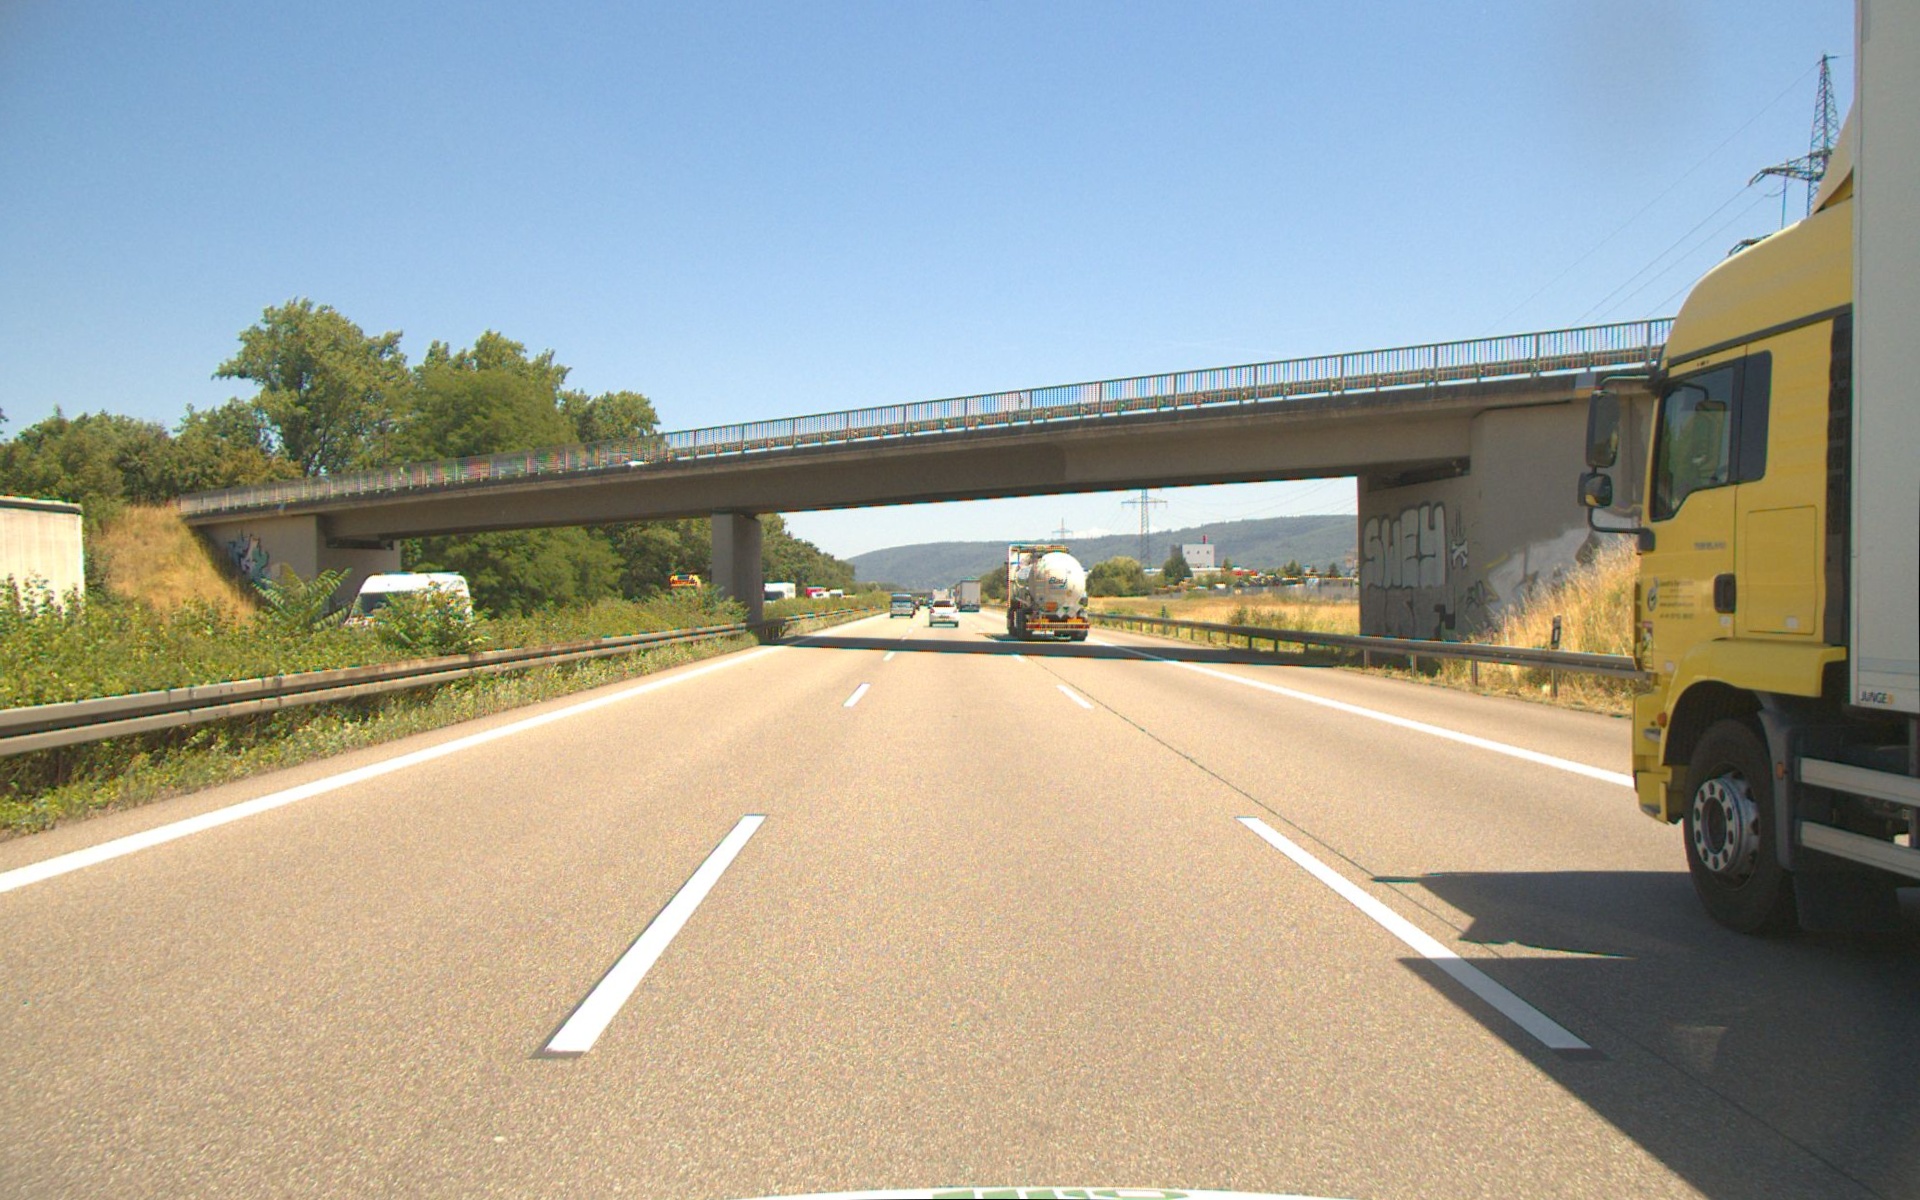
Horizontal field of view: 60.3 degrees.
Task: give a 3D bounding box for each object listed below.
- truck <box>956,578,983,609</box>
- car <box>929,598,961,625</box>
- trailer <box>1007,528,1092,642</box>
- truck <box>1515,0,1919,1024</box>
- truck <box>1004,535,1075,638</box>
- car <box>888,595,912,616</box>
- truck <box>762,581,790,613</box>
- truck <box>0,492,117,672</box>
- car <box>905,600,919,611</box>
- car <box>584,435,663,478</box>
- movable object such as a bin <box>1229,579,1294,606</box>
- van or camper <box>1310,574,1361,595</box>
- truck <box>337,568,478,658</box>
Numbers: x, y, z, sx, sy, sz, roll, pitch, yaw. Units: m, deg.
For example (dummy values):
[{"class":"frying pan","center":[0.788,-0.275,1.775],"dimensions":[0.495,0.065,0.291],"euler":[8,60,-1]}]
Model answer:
[{"class":"truck","center":[1.148,-0.807,216.682],"dimensions":[3.199,3.925,11.628],"euler":[1,0,-1]},{"class":"car","center":[-0.851,0.634,93.618],"dimensions":[1.770,1.494,3.999],"euler":[1,0,-1]},{"class":"trailer","center":[3.432,-0.556,66.144],"dimensions":[2.528,4.145,11.100],"euler":[1,0,-1]},{"class":"truck","center":[4.810,-0.641,4.382],"dimensions":[2.874,4.273,10.679],"euler":[1,0,-1]},{"class":"truck","center":[3.337,-0.554,70.856],"dimensions":[2.521,4.143,6.391],"euler":[1,0,-1]},{"class":"car","center":[-4.909,0.473,135.097],"dimensions":[1.814,1.661,3.999],"euler":[1,0,-1]},{"class":"truck","center":[-22.181,-0.403,199.544],"dimensions":[2.738,3.786,5.116],"euler":[1,0,-1]},{"class":"truck","center":[-20.404,-0.375,31.798],"dimensions":[2.818,3.559,10.735],"euler":[1,0,0]},{"class":"car","center":[-6.570,0.758,228.305],"dimensions":[1.798,1.411,3.999],"euler":[1,0,-1]},{"class":"car","center":[-14.313,-6.067,70.274],"dimensions":[1.624,1.494,3.942],"euler":[1,0,-40]},{"class":"movable object such as a bin","center":[46.270,-1.154,253.950],"dimensions":[9.516,3.754,2.633],"euler":[-2,0,1]},{"class":"van or camper","center":[49.535,-1.985,218.157],"dimensions":[6.212,2.597,2.438],"euler":[-2,0,1]},{"class":"truck","center":[-16.131,0.362,48.715],"dimensions":[1.953,2.440,6.419],"euler":[1,0,0]}]
